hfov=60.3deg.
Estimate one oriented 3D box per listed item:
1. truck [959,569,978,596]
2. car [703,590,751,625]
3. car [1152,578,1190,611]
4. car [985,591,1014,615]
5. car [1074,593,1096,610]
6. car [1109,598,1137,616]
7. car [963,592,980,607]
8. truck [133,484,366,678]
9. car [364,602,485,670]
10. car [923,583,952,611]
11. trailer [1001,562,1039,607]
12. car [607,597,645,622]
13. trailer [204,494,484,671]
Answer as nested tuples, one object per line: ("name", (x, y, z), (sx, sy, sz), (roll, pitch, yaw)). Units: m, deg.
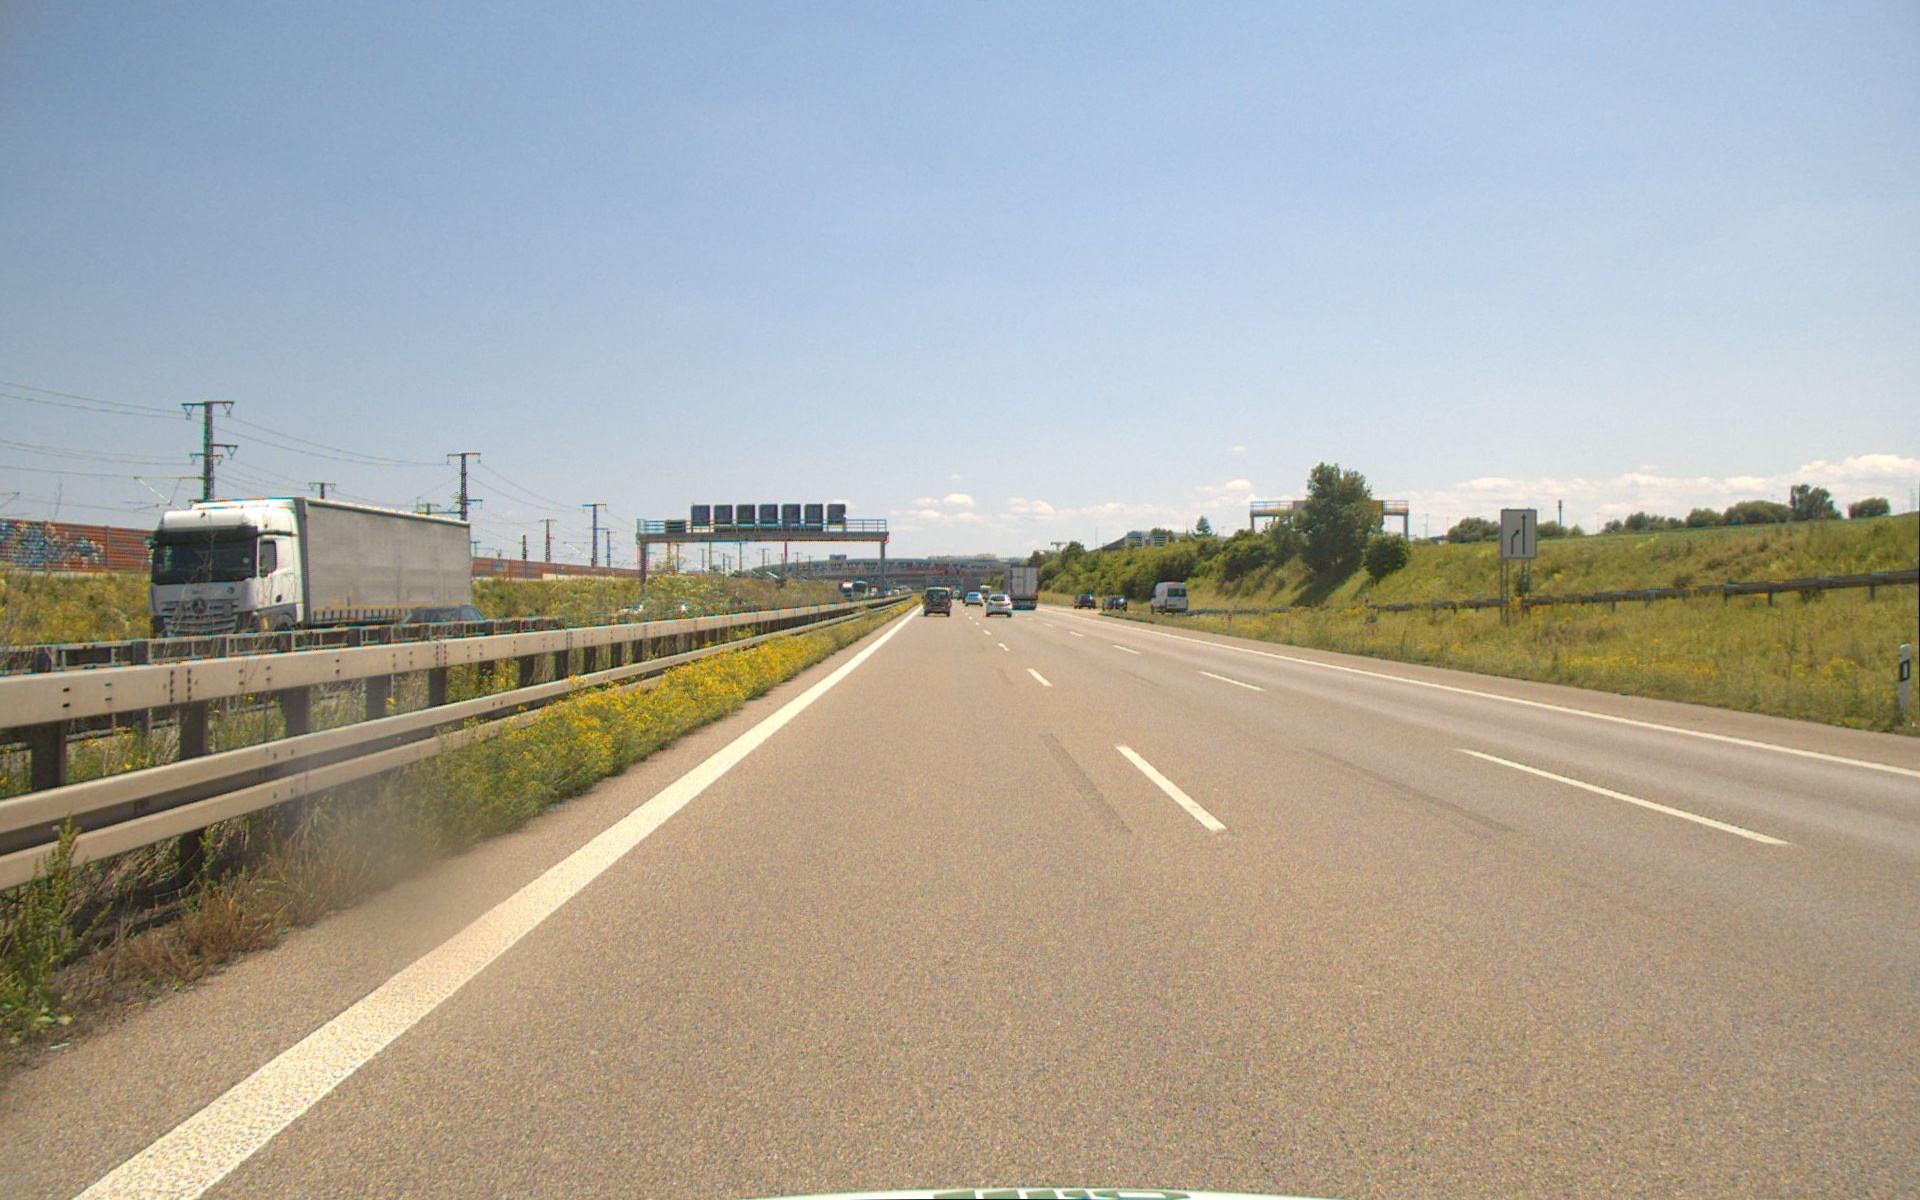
("truck", (1.103, -2.288, 219.359), (2.307, 3.476, 6.056), (0, 0, -1))
("car", (-10.349, 0.321, 73.555), (1.612, 1.505, 3.813), (0, 0, 0))
("car", (17.133, -0.444, 134.285), (2.228, 2.572, 5.398), (1, 0, -2))
("car", (2.616, 0.228, 109.990), (1.841, 1.553, 4.001), (1, 0, 2))
("car", (13.105, 0.132, 173.729), (1.953, 1.624, 3.999), (2, -1, -1))
("car", (15.142, 0.684, 153.482), (1.954, 1.534, 3.997), (2, -1, -3))
("car", (1.244, -0.018, 176.762), (1.842, 1.553, 4.000), (1, 0, 0))
("truck", (-16.526, -0.423, 39.000), (2.674, 4.143, 6.380), (-1, 0, 0))
("car", (-12.616, 0.814, 39.171), (1.611, 1.487, 3.836), (0, 0, 0))
("car", (-1.467, -0.182, 108.271), (1.842, 1.806, 3.999), (0, -1, -1))
("trailer", (5.562, -1.434, 154.853), (3.112, 4.130, 9.438), (-1, 0, 0))
("car", (-21.422, 0.592, 106.147), (1.685, 1.571, 3.809), (0, 0, 0))
("trailer", (-16.535, -0.445, 45.962), (2.674, 4.145, 13.529), (-1, 0, 0))
